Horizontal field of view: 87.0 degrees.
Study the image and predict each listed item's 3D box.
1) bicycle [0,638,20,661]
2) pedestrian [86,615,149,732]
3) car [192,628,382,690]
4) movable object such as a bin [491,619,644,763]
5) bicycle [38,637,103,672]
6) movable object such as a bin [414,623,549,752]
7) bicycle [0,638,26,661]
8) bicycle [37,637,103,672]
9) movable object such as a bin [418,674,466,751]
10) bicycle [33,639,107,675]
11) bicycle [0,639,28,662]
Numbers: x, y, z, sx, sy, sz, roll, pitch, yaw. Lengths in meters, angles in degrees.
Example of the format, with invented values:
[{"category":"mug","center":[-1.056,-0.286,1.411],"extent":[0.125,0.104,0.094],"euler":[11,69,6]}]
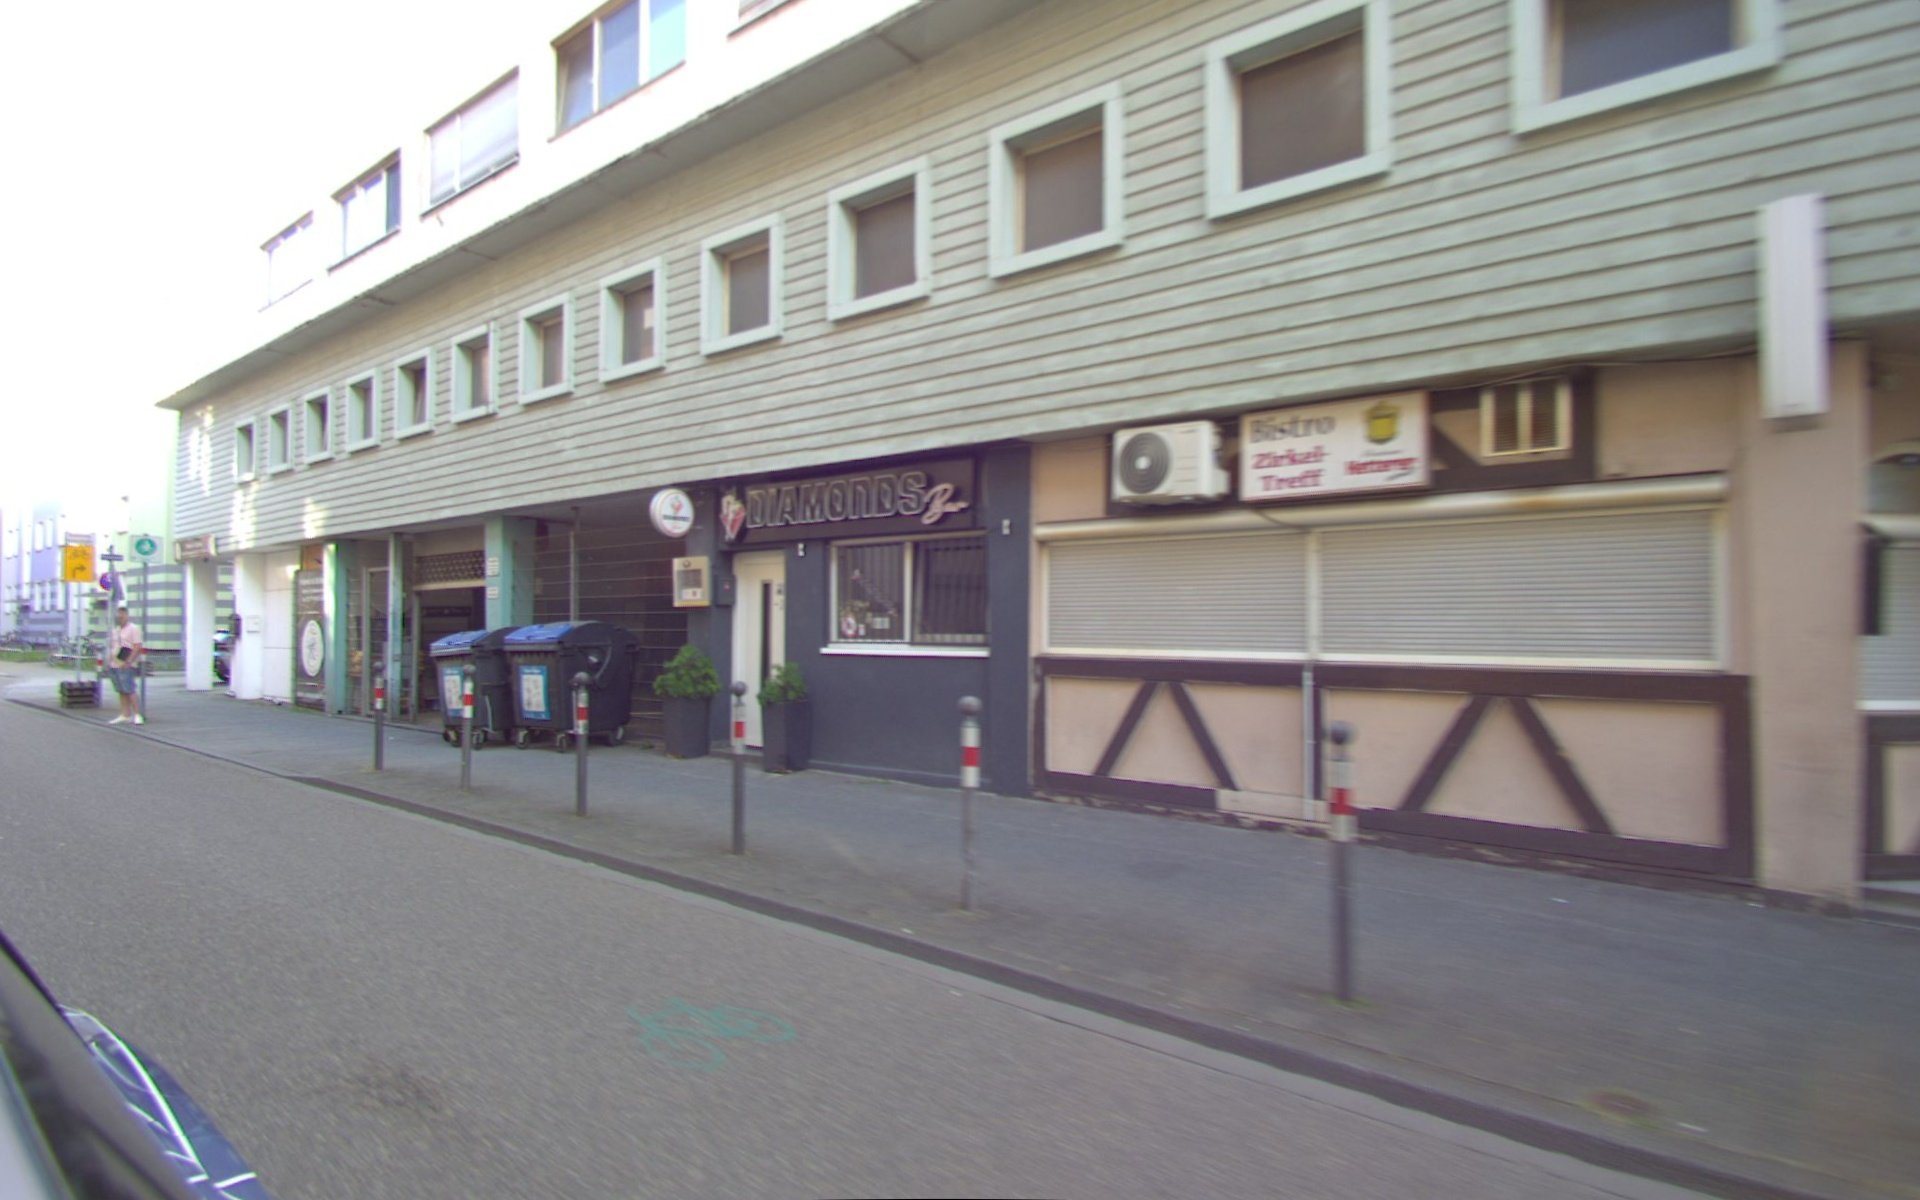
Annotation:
[{"category":"bicycle","center":[-42.199,2.211,44.084],"extent":[0.388,0.953,1.781],"euler":[-1,1,38]},{"category":"pedestrian","center":[-12.549,1.078,15.080],"extent":[0.624,1.682,0.489],"euler":[-1,0,26]},{"category":"car","center":[-17.913,1.520,27.102],"extent":[1.690,1.531,3.895],"euler":[-1,-2,36]},{"category":"movable object such as a bin","center":[-4.502,1.005,11.621],"extent":[1.340,1.532,1.111],"euler":[-3,-3,38]},{"category":"bicycle","center":[-32.470,1.982,36.964],"extent":[0.387,1.109,1.721],"euler":[-2,1,31]},{"category":"movable object such as a bin","center":[-5.899,1.049,12.472],"extent":[1.472,1.483,0.959],"euler":[-3,-4,39]},{"category":"bicycle","center":[-43.383,2.272,45.732],"extent":[0.388,0.953,1.638],"euler":[-1,1,38]},{"category":"bicycle","center":[-32.203,1.959,36.650],"extent":[0.387,1.109,1.721],"euler":[-2,1,31]},{"category":"movable object such as a bin","center":[-6.758,1.457,13.204],"extent":[0.466,0.949,0.389],"euler":[-2,-3,38]},{"category":"bicycle","center":[-31.239,1.985,35.550],"extent":[0.748,1.109,1.799],"euler":[-1,1,37]},{"category":"bicycle","center":[-42.517,2.247,44.802],"extent":[0.388,0.953,1.781],"euler":[-1,1,38]}]
